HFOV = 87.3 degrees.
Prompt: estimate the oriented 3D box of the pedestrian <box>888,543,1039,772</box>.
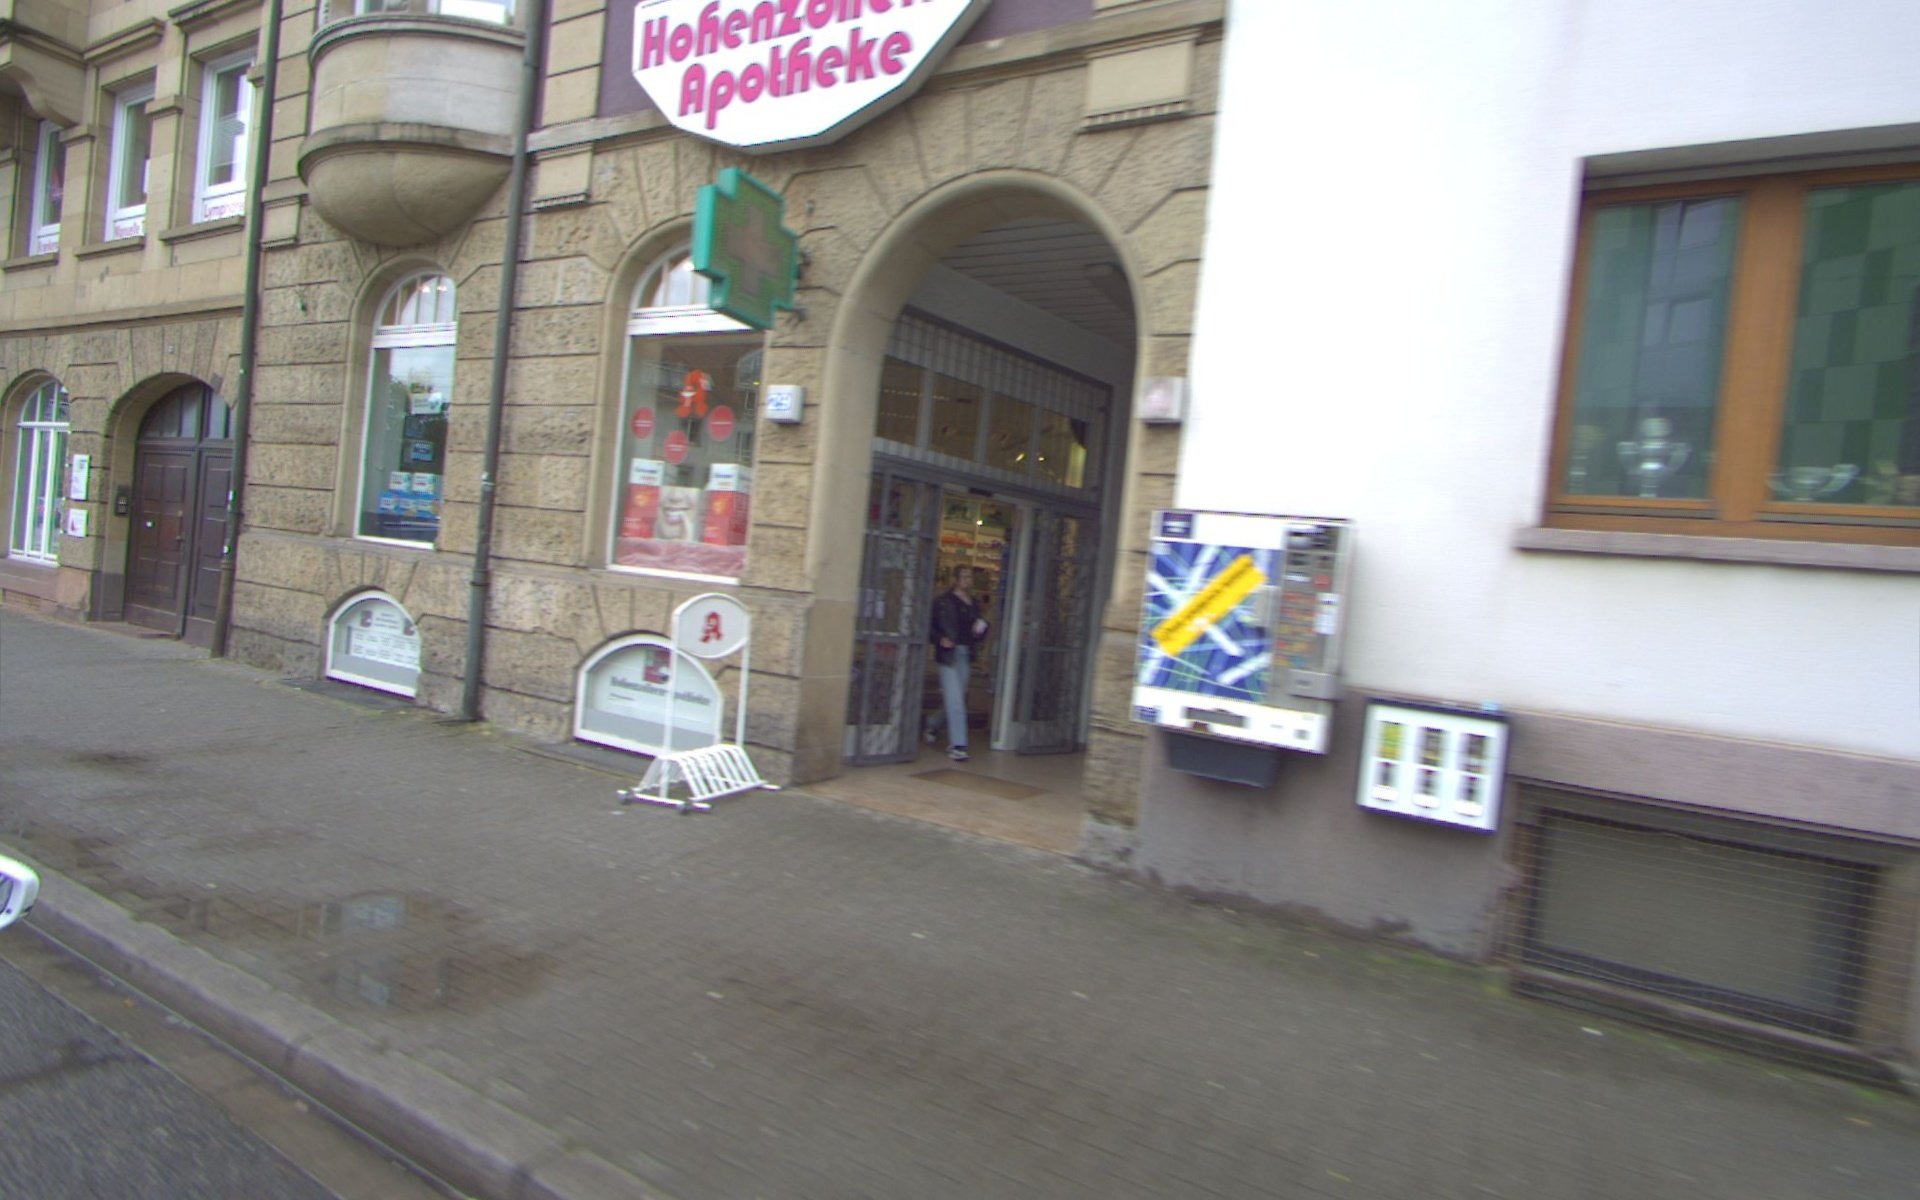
[{"bbox_3d":[0.016,0.449,8.242,0.668,1.742,0.892,5,1,-38],"label":"pedestrian"}]
